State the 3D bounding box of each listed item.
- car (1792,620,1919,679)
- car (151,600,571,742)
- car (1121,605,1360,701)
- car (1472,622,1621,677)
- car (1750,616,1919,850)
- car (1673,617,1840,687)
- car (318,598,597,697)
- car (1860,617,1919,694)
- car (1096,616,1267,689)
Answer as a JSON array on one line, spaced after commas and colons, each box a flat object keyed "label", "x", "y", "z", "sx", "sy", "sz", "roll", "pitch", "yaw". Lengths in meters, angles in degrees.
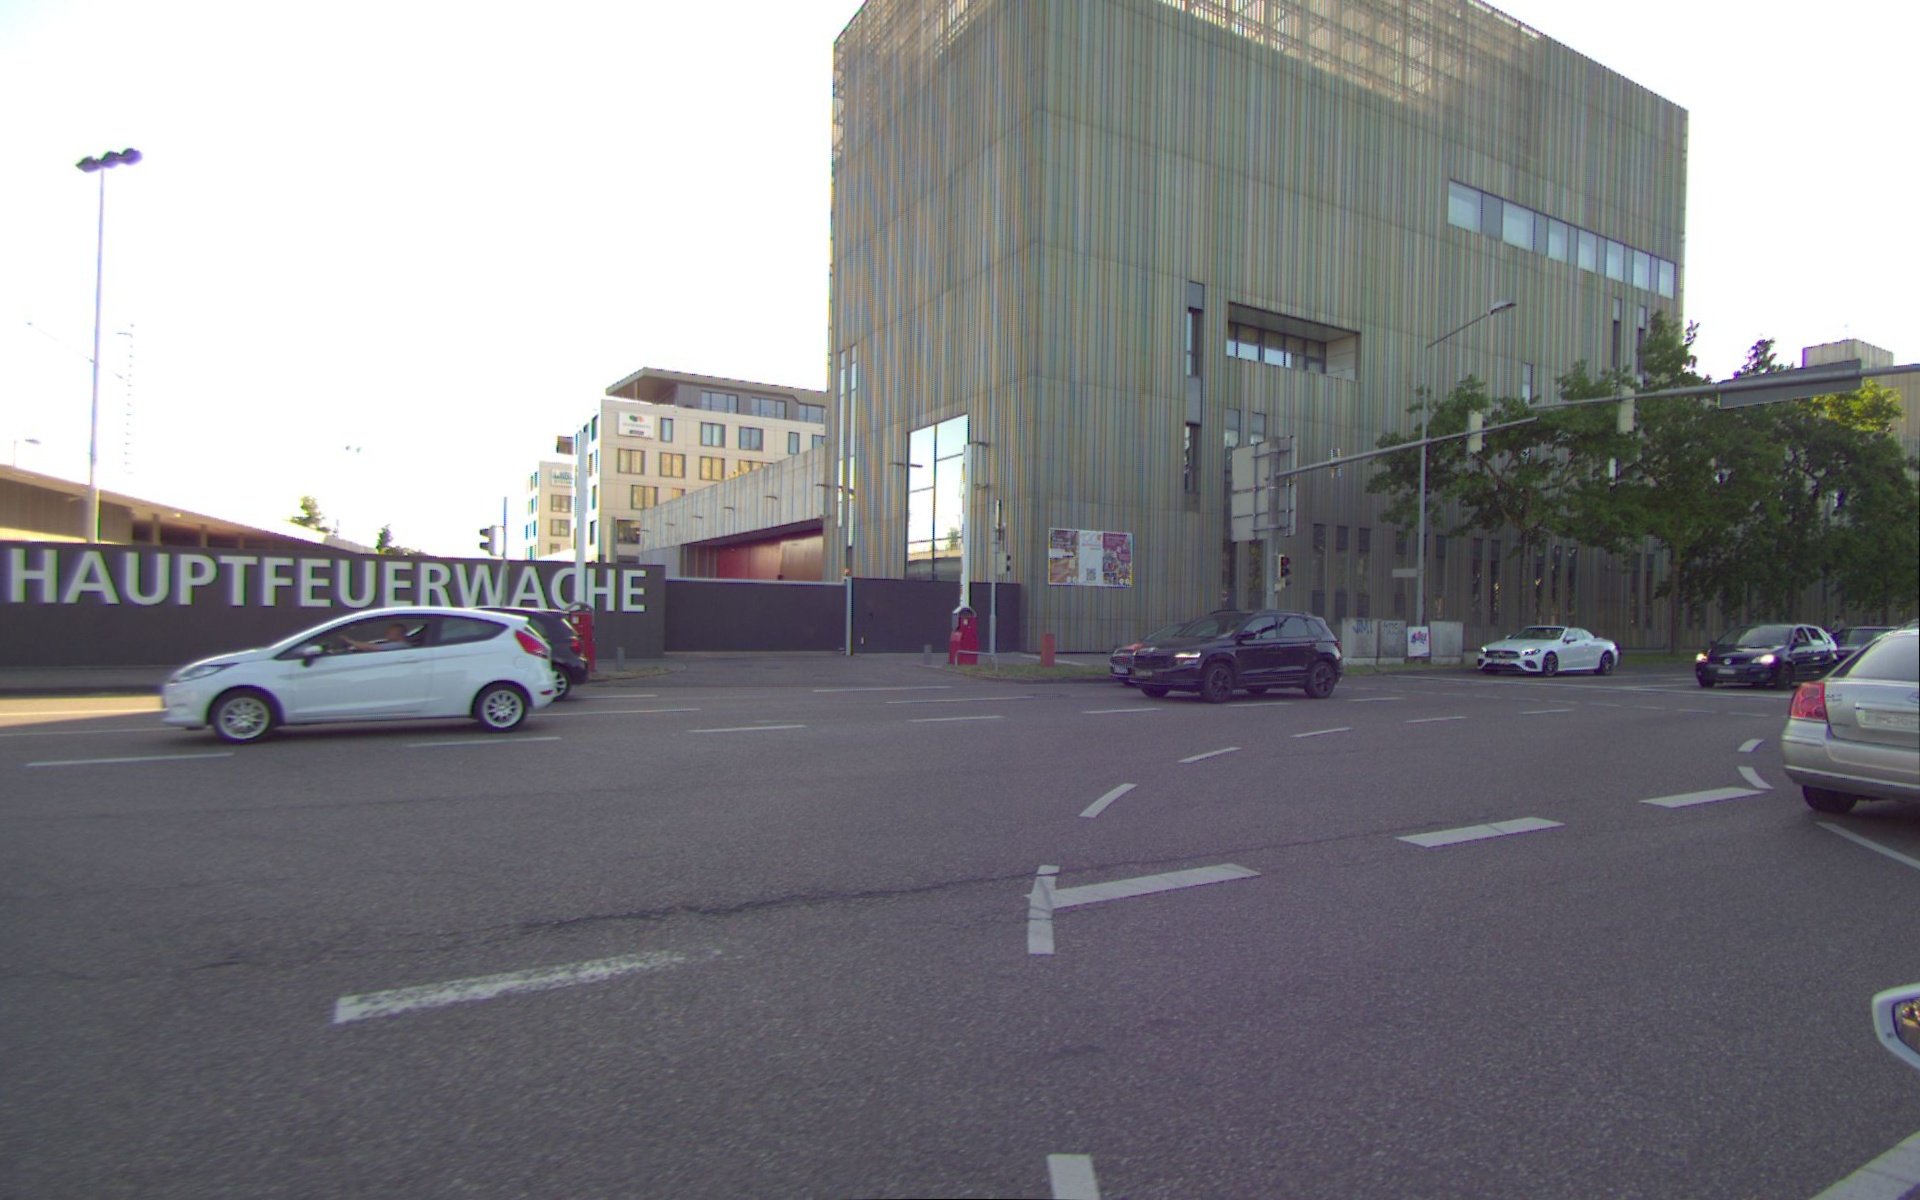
[{"label": "car", "x": 24.023, "y": 1.311, "z": 26.721, "sx": 4.029, "sy": 1.462, "sz": 1.628, "roll": 2, "pitch": -3, "yaw": -31}, {"label": "car", "x": -6.758, "y": 0.793, "z": 11.743, "sx": 3.930, "sy": 1.423, "sz": 1.639, "roll": 2, "pitch": -3, "yaw": -30}, {"label": "car", "x": 5.162, "y": 0.962, "z": 18.325, "sx": 4.345, "sy": 1.566, "sz": 1.639, "roll": 2, "pitch": -3, "yaw": -30}, {"label": "car", "x": 16.740, "y": 1.401, "z": 28.621, "sx": 4.507, "sy": 1.462, "sz": 1.681, "roll": 2, "pitch": -3, "yaw": -31}, {"label": "car", "x": 8.059, "y": 0.930, "z": 7.639, "sx": 4.267, "sy": 1.499, "sz": 1.725, "roll": 2, "pitch": 0, "yaw": -30}, {"label": "car", "x": 18.109, "y": 1.169, "z": 22.814, "sx": 4.029, "sy": 1.462, "sz": 1.628, "roll": 2, "pitch": -3, "yaw": -31}, {"label": "car", "x": -8.096, "y": 0.792, "z": 16.605, "sx": 3.918, "sy": 1.501, "sz": 1.644, "roll": 1, "pitch": -3, "yaw": -21}, {"label": "car", "x": 19.862, "y": 1.119, "z": 20.171, "sx": 3.676, "sy": 1.462, "sz": 1.628, "roll": 2, "pitch": -3, "yaw": -31}, {"label": "car", "x": 4.813, "y": 1.133, "z": 21.768, "sx": 3.450, "sy": 1.453, "sz": 1.639, "roll": 2, "pitch": -3, "yaw": -30}]
